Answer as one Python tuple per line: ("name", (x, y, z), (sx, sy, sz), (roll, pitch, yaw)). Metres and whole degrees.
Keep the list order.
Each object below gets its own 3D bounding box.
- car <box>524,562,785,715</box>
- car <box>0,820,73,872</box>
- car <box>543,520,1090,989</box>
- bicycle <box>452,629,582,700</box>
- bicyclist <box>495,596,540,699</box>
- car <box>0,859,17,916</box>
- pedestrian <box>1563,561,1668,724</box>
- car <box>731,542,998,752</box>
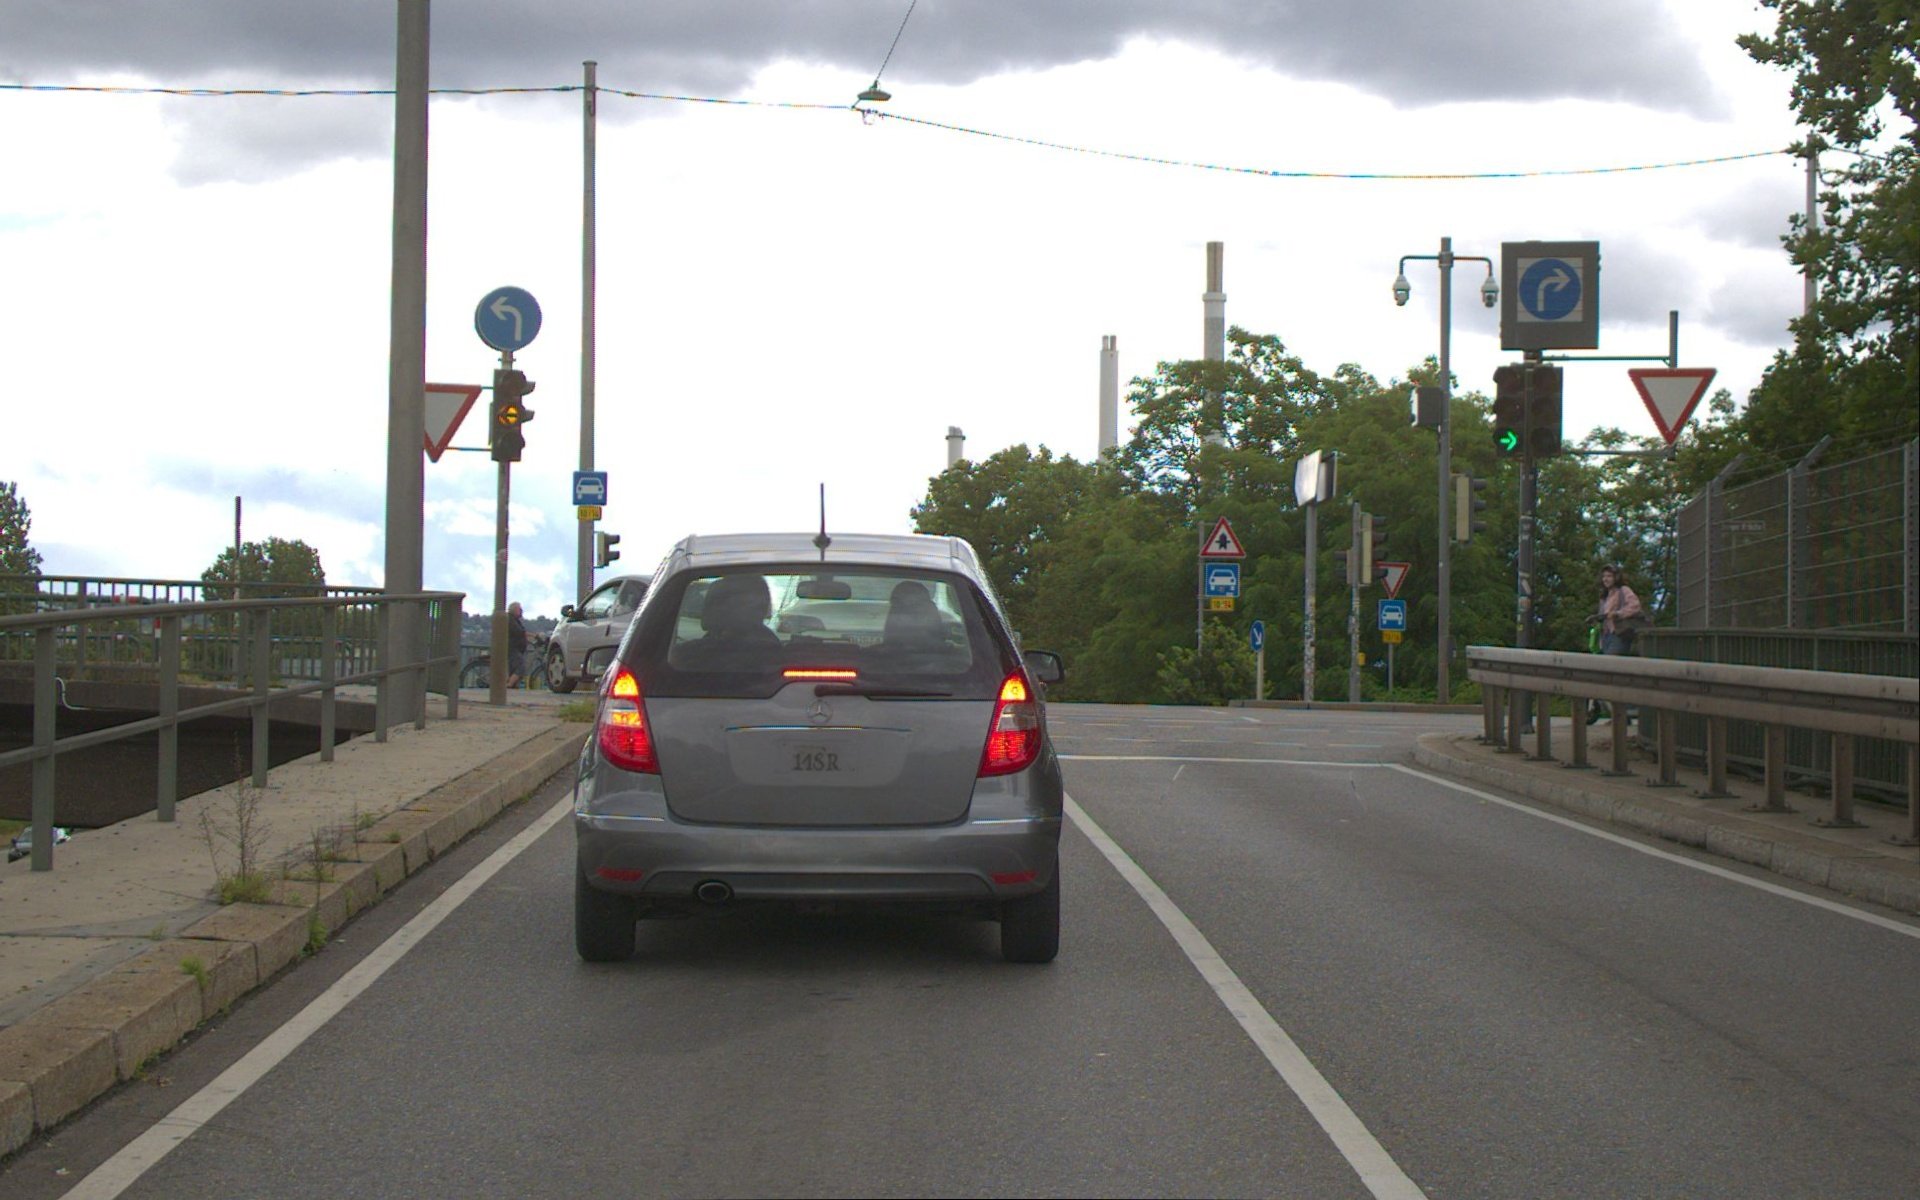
("car", (-3.702, 0.420, 41.043), (1.931, 1.711, 4.001), (0, 1, -23))
("car", (-35.610, 9.460, 132.268), (1.931, 1.835, 4.410), (0, -2, -2))
("car", (-0.478, 0.491, 13.758), (1.858, 1.583, 4.000), (1, 1, 0))
("bicycle", (-7.303, 1.061, 56.619), (2.032, 1.121, 0.929), (0, 1, -12))
("bicyclist", (-7.289, 0.776, 56.630), (0.653, 1.668, 0.870), (0, 1, -12))
("car", (-28.068, 8.169, 97.282), (1.728, 1.523, 4.087), (1, -2, -2))
("pedestrian", (6.872, 0.457, 36.081), (0.832, 1.672, 0.979), (0, -2, -5))
("car", (-0.924, 0.358, 30.368), (1.931, 1.711, 4.407), (0, 1, -7))
